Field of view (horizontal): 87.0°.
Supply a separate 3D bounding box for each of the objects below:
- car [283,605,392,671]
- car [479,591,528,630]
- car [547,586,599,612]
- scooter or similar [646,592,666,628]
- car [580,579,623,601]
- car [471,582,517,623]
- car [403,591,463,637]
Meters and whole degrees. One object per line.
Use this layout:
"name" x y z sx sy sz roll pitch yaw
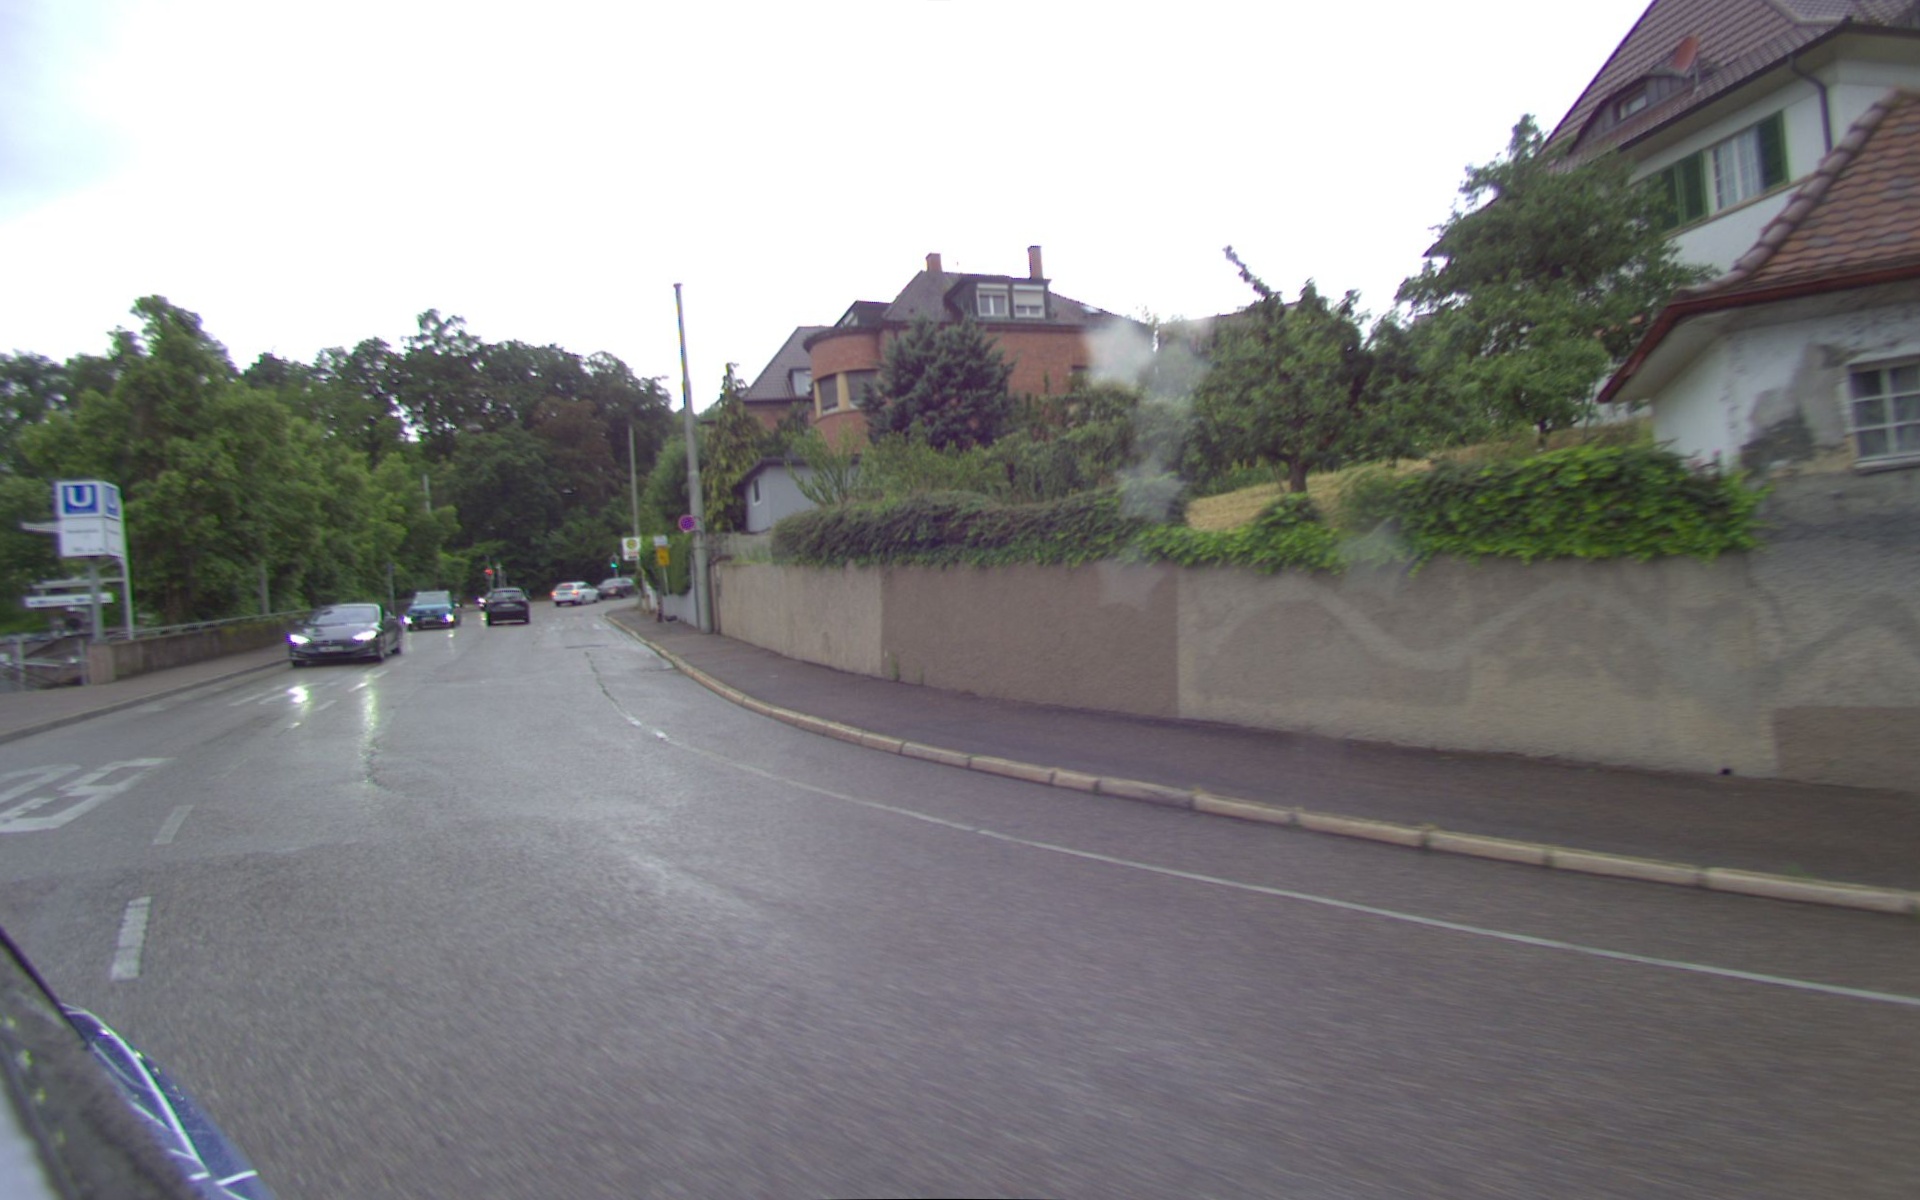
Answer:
"car" -15.602 0.886 25.569 1.805 1.402 4.338 -2 1 -25
"car" -19.669 0.425 43.757 1.743 1.532 3.988 -3 1 -22
"car" -25.210 -0.082 66.104 1.826 1.485 4.444 -2 2 -2
"scooter or similar" -10.777 0.339 35.870 0.515 1.212 1.440 -2 1 -22
"car" -25.836 -0.730 72.859 1.834 1.405 4.610 -5 4 -32
"car" -30.175 0.189 65.643 1.966 2.029 4.011 -5 -5 -17
"car" -22.330 0.619 42.975 1.771 1.622 4.054 -5 -1 -22
